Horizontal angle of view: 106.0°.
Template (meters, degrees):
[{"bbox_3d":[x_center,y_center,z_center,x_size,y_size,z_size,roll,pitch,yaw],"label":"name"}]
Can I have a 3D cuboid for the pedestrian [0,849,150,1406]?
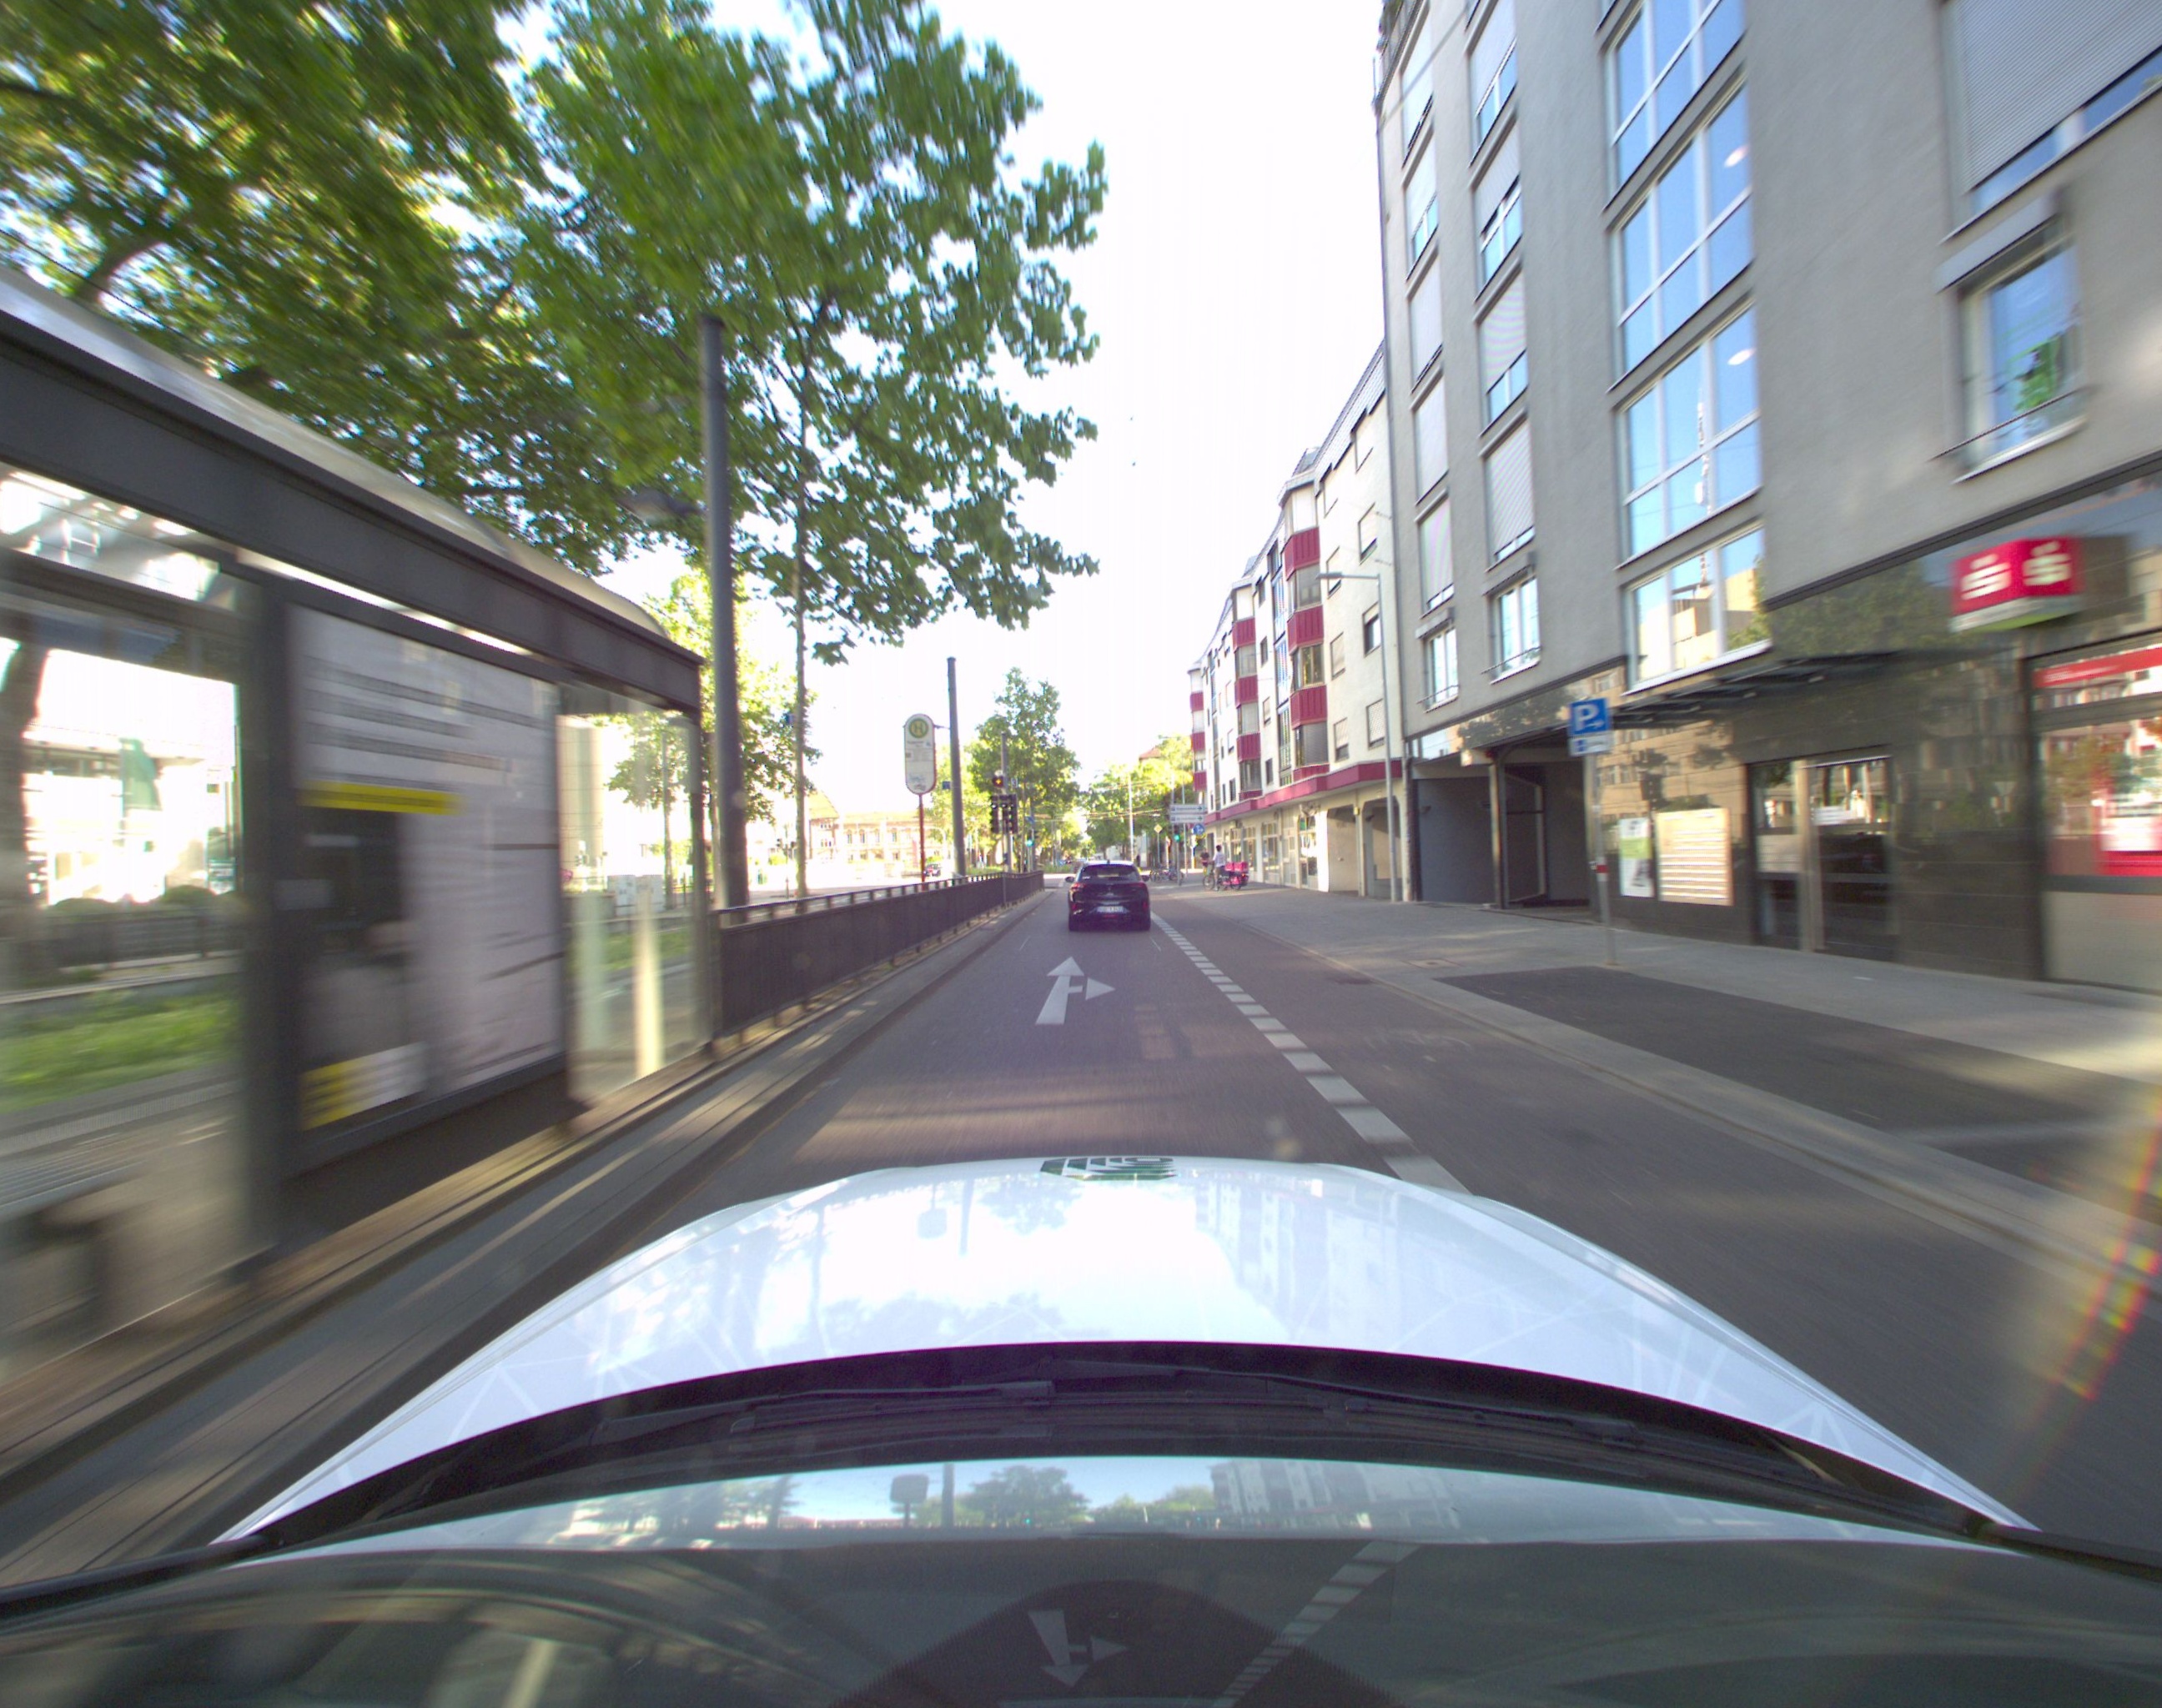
[{"bbox_3d":[-2.895,0.658,1.838,0.624,1.319,0.801,-2,0,2],"label":"pedestrian"}]

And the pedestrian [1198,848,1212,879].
[{"bbox_3d":[7.718,0.589,50.720,0.720,1.858,0.801,-2,-1,0],"label":"pedestrian"}]

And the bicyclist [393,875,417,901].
[{"bbox_3d":[-40.026,2.022,48.225,0.881,1.494,0.719,-2,-1,-17],"label":"bicyclist"}]

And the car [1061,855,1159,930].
[{"bbox_3d":[0.632,0.761,18.213,1.898,1.425,4.216,-2,0,1],"label":"car"}]

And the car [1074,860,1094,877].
[{"bbox_3d":[0.313,1.425,81.111,1.826,1.623,4.285,-1,0,1],"label":"car"}]

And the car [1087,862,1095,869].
[{"bbox_3d":[2.317,2.702,191.065,1.898,1.425,4.216,-2,0,1],"label":"car"}]

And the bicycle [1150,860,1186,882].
[{"bbox_3d":[4.915,0.953,46.021,1.935,1.170,0.571,-2,-1,-3],"label":"bicycle"}]

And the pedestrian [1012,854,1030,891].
[{"bbox_3d":[-2.914,0.897,39.680,0.730,1.746,0.713,-2,0,5],"label":"pedestrian"}]

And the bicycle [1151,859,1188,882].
[{"bbox_3d":[5.056,0.928,46.652,1.973,1.199,0.590,-2,-1,-4],"label":"bicycle"}]

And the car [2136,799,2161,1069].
[{"bbox_3d":[5.008,0.515,0.999,1.826,1.622,4.285,-5,0,1],"label":"car"}]

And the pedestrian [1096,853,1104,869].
[{"bbox_3d":[2.563,0.958,109.016,1.033,2.024,1.212,-2,-1,-1],"label":"pedestrian"}]

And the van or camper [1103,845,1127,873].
[{"bbox_3d":[4.228,0.637,103.211,2.368,3.125,7.548,-5,0,-1],"label":"van or camper"}]

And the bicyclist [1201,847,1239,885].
[{"bbox_3d":[5.854,0.503,34.330,1.065,1.540,1.067,-2,-1,-37],"label":"bicyclist"}]

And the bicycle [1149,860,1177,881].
[{"bbox_3d":[4.826,0.983,48.099,1.615,1.199,0.497,-2,-1,5],"label":"bicycle"}]

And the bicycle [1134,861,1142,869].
[{"bbox_3d":[7.262,1.396,103.905,0.638,1.070,1.947,-2,-1,-5],"label":"bicycle"}]

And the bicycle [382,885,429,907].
[{"bbox_3d":[-39.972,2.458,48.234,2.041,1.189,0.587,-2,-1,-17],"label":"bicycle"}]

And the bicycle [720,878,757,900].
[{"bbox_3d":[-15.930,1.628,37.974,0.808,0.946,1.729,-2,0,7],"label":"bicycle"}]

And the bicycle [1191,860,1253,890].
[{"bbox_3d":[5.906,0.884,34.282,0.968,1.183,2.569,-2,0,-37],"label":"bicycle"}]

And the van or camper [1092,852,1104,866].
[{"bbox_3d":[3.770,1.129,176.623,2.477,2.994,5.435,0,-1,1],"label":"van or camper"}]

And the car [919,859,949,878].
[{"bbox_3d":[-16.672,1.590,92.529,1.983,1.947,4.433,-2,0,7],"label":"car"}]

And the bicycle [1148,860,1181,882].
[{"bbox_3d":[4.865,0.974,47.528,1.823,1.221,0.496,-2,0,3],"label":"bicycle"}]

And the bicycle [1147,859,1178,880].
[{"bbox_3d":[4.865,0.913,48.847,1.793,1.199,0.546,-2,-2,5],"label":"bicycle"}]

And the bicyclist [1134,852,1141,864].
[{"bbox_3d":[7.222,0.526,103.943,0.748,1.510,0.700,-2,-1,-6],"label":"bicyclist"}]
